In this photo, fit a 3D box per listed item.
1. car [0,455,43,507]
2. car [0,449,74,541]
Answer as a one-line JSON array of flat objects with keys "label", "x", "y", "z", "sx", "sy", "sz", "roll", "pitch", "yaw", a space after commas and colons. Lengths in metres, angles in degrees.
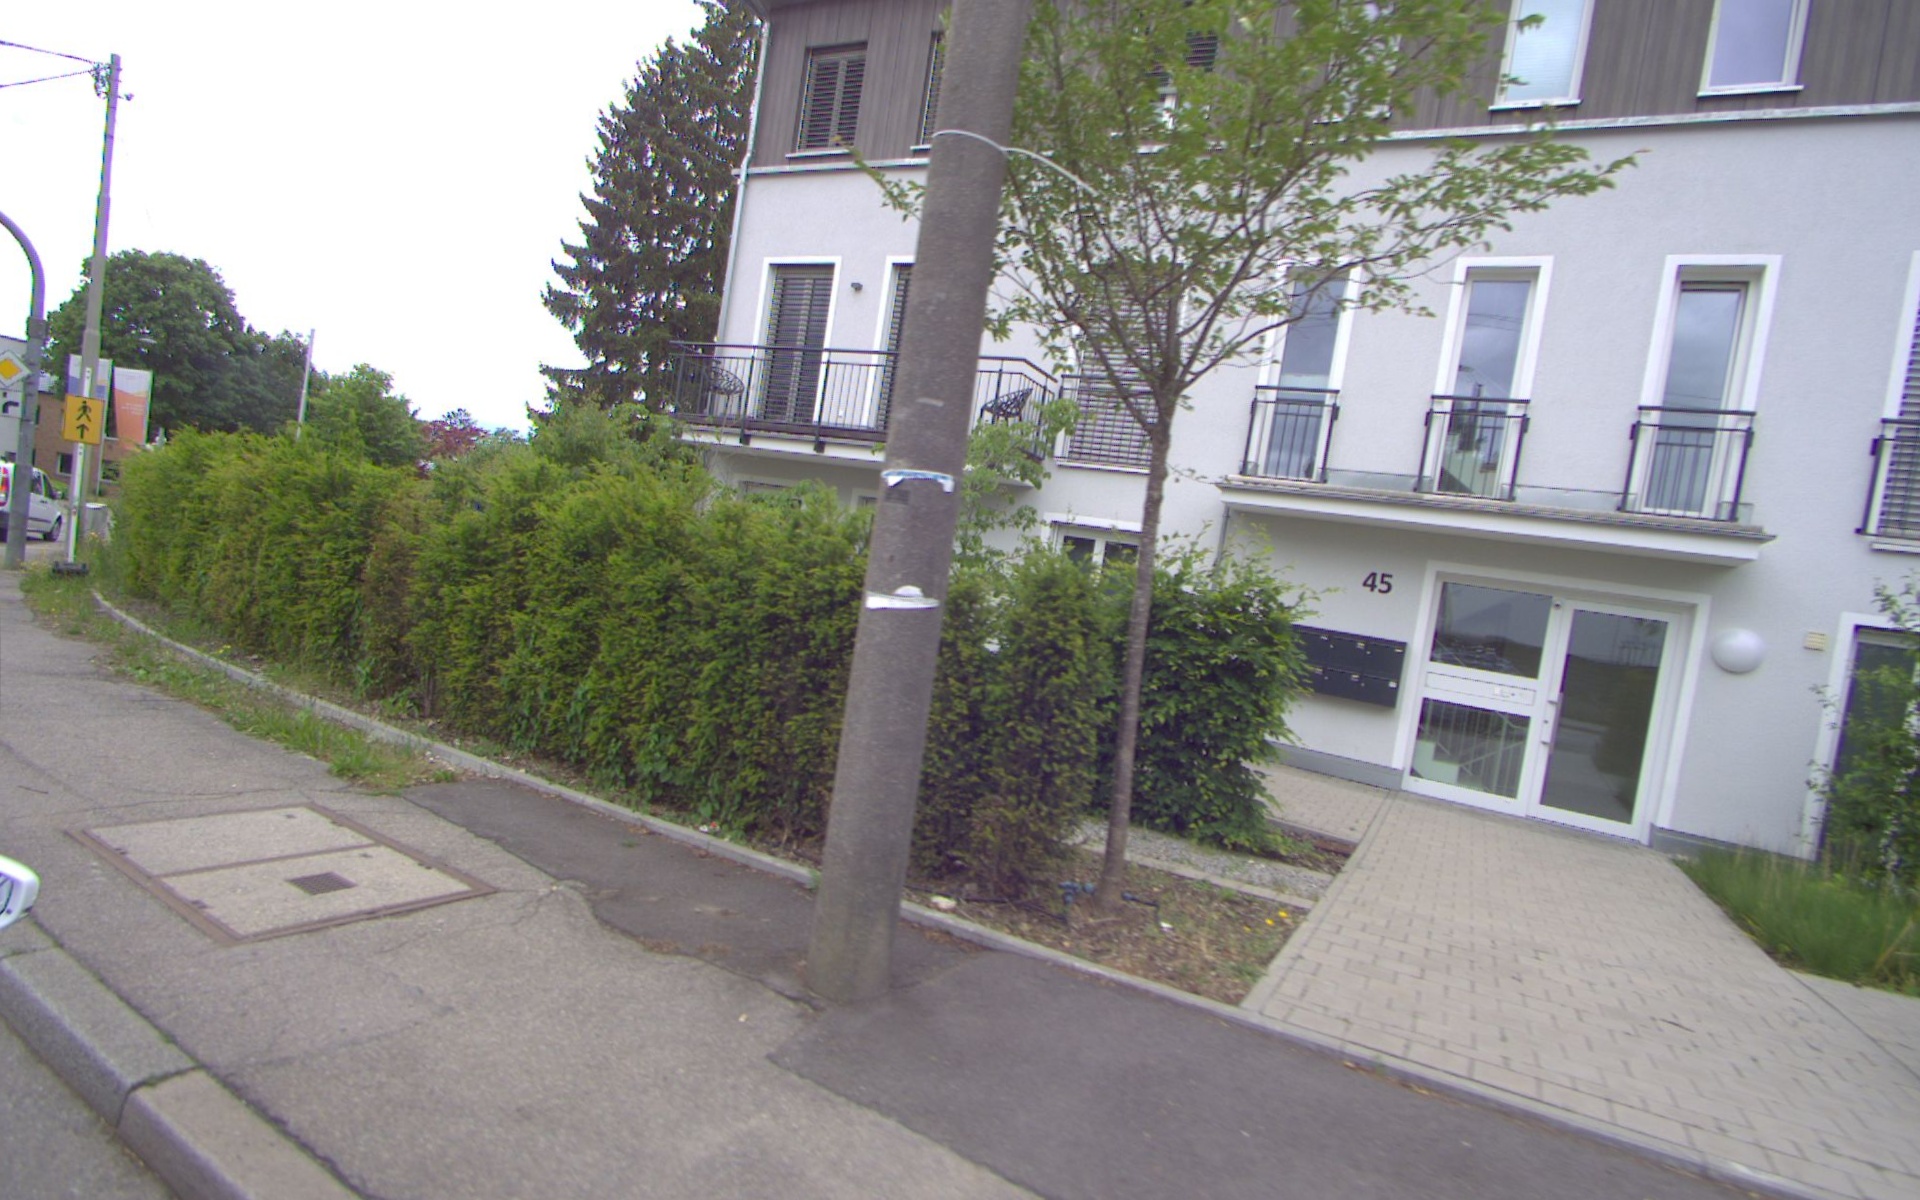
[{"label": "car", "x": -33.813, "y": -4.228, "z": 33.877, "sx": 1.967, "sy": 1.679, "sz": 4.773, "roll": 7, "pitch": 1, "yaw": -10}, {"label": "car", "x": -23.962, "y": -2.713, "z": 24.844, "sx": 1.948, "sy": 2.037, "sz": 4.394, "roll": 10, "pitch": 0, "yaw": -28}]
